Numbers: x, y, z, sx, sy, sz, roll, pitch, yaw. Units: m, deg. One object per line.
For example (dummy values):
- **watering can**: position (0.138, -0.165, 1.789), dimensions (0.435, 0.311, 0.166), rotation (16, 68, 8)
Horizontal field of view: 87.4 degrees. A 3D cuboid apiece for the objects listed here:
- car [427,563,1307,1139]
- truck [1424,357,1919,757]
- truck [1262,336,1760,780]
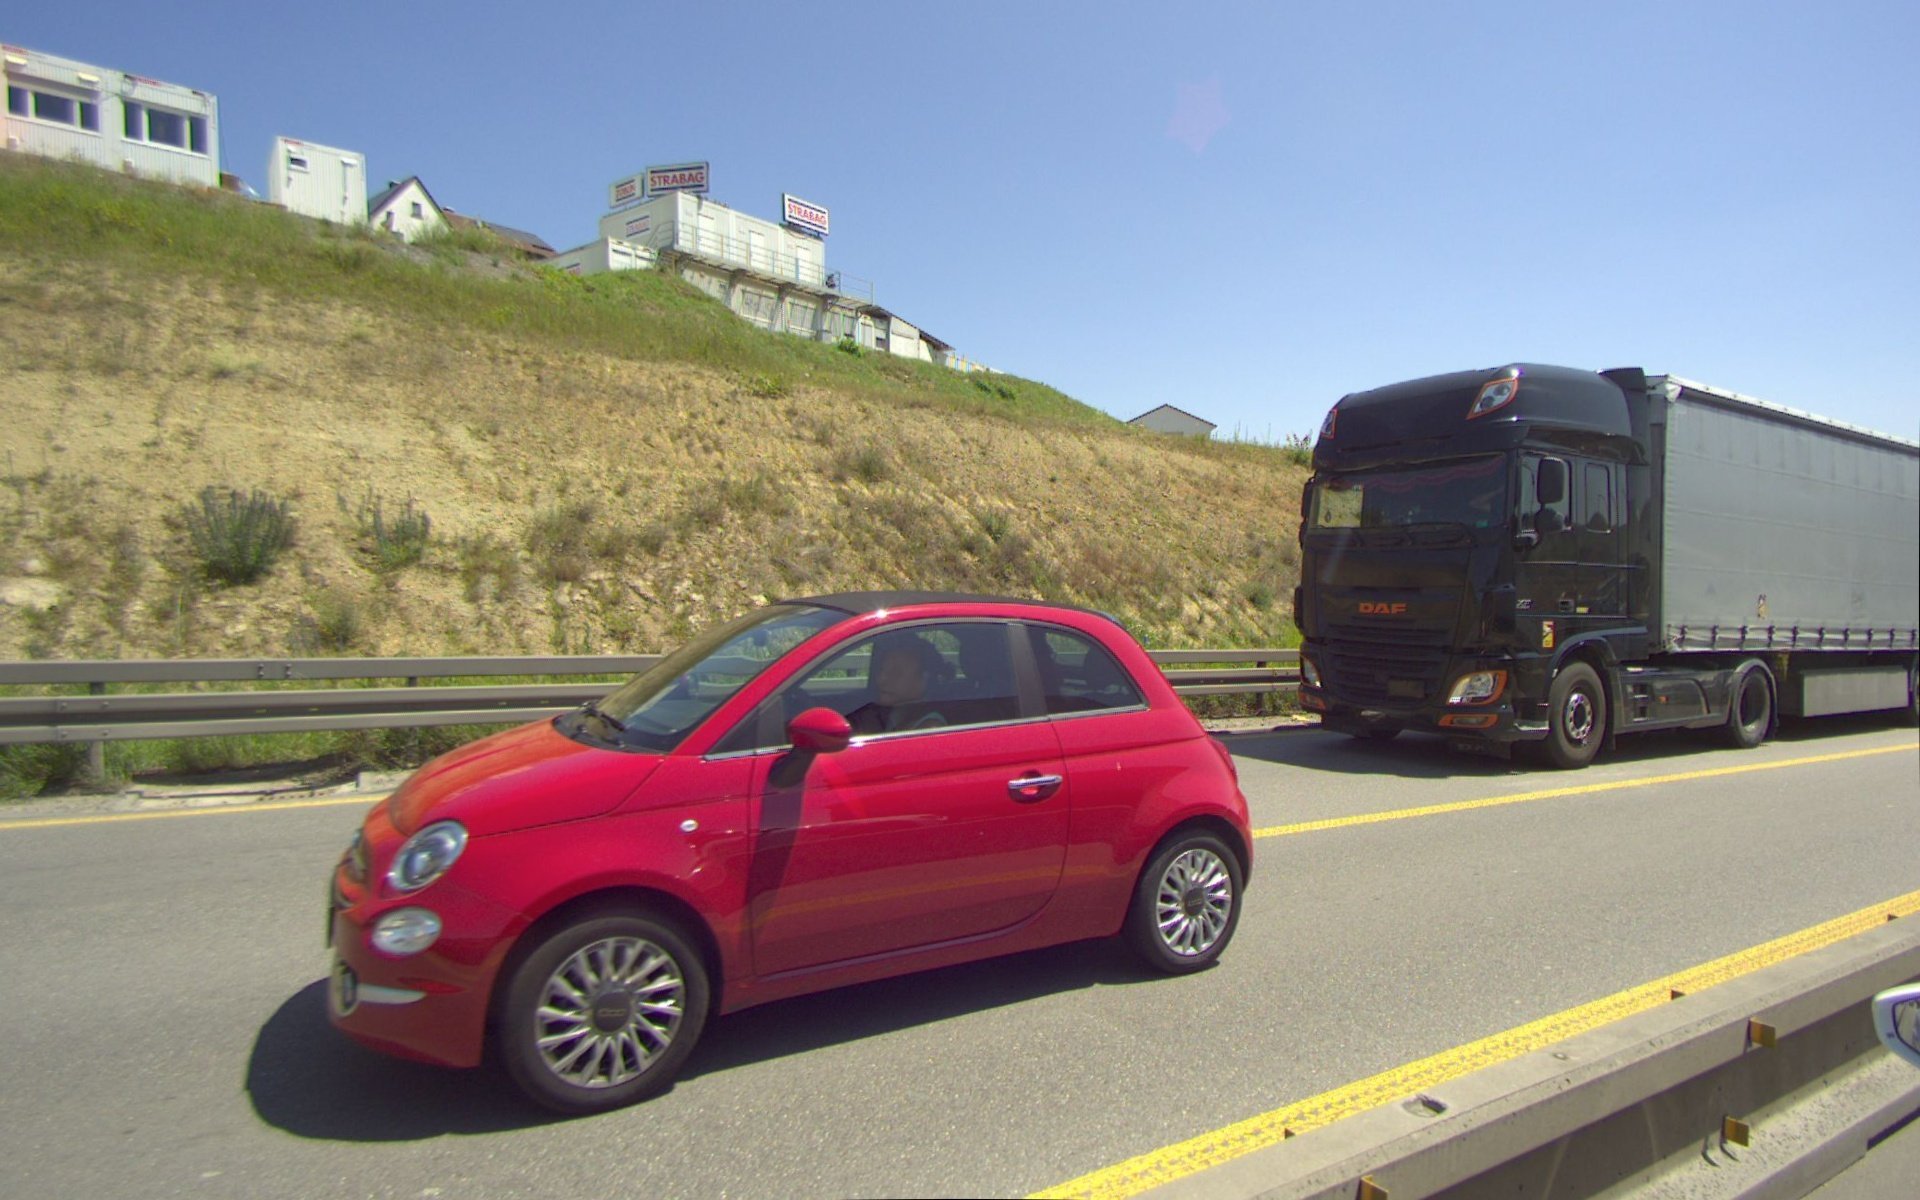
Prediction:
- **car**: position (-0.321, 0.687, 4.147), dimensions (3.256, 1.506, 1.583), rotation (1, 0, -30)
- **truck**: position (12.516, -0.321, 15.084), dimensions (13.645, 4.142, 2.754), rotation (1, 0, -31)
- **truck**: position (6.236, -0.339, 11.351), dimensions (4.906, 3.936, 2.754), rotation (1, 1, -30)
